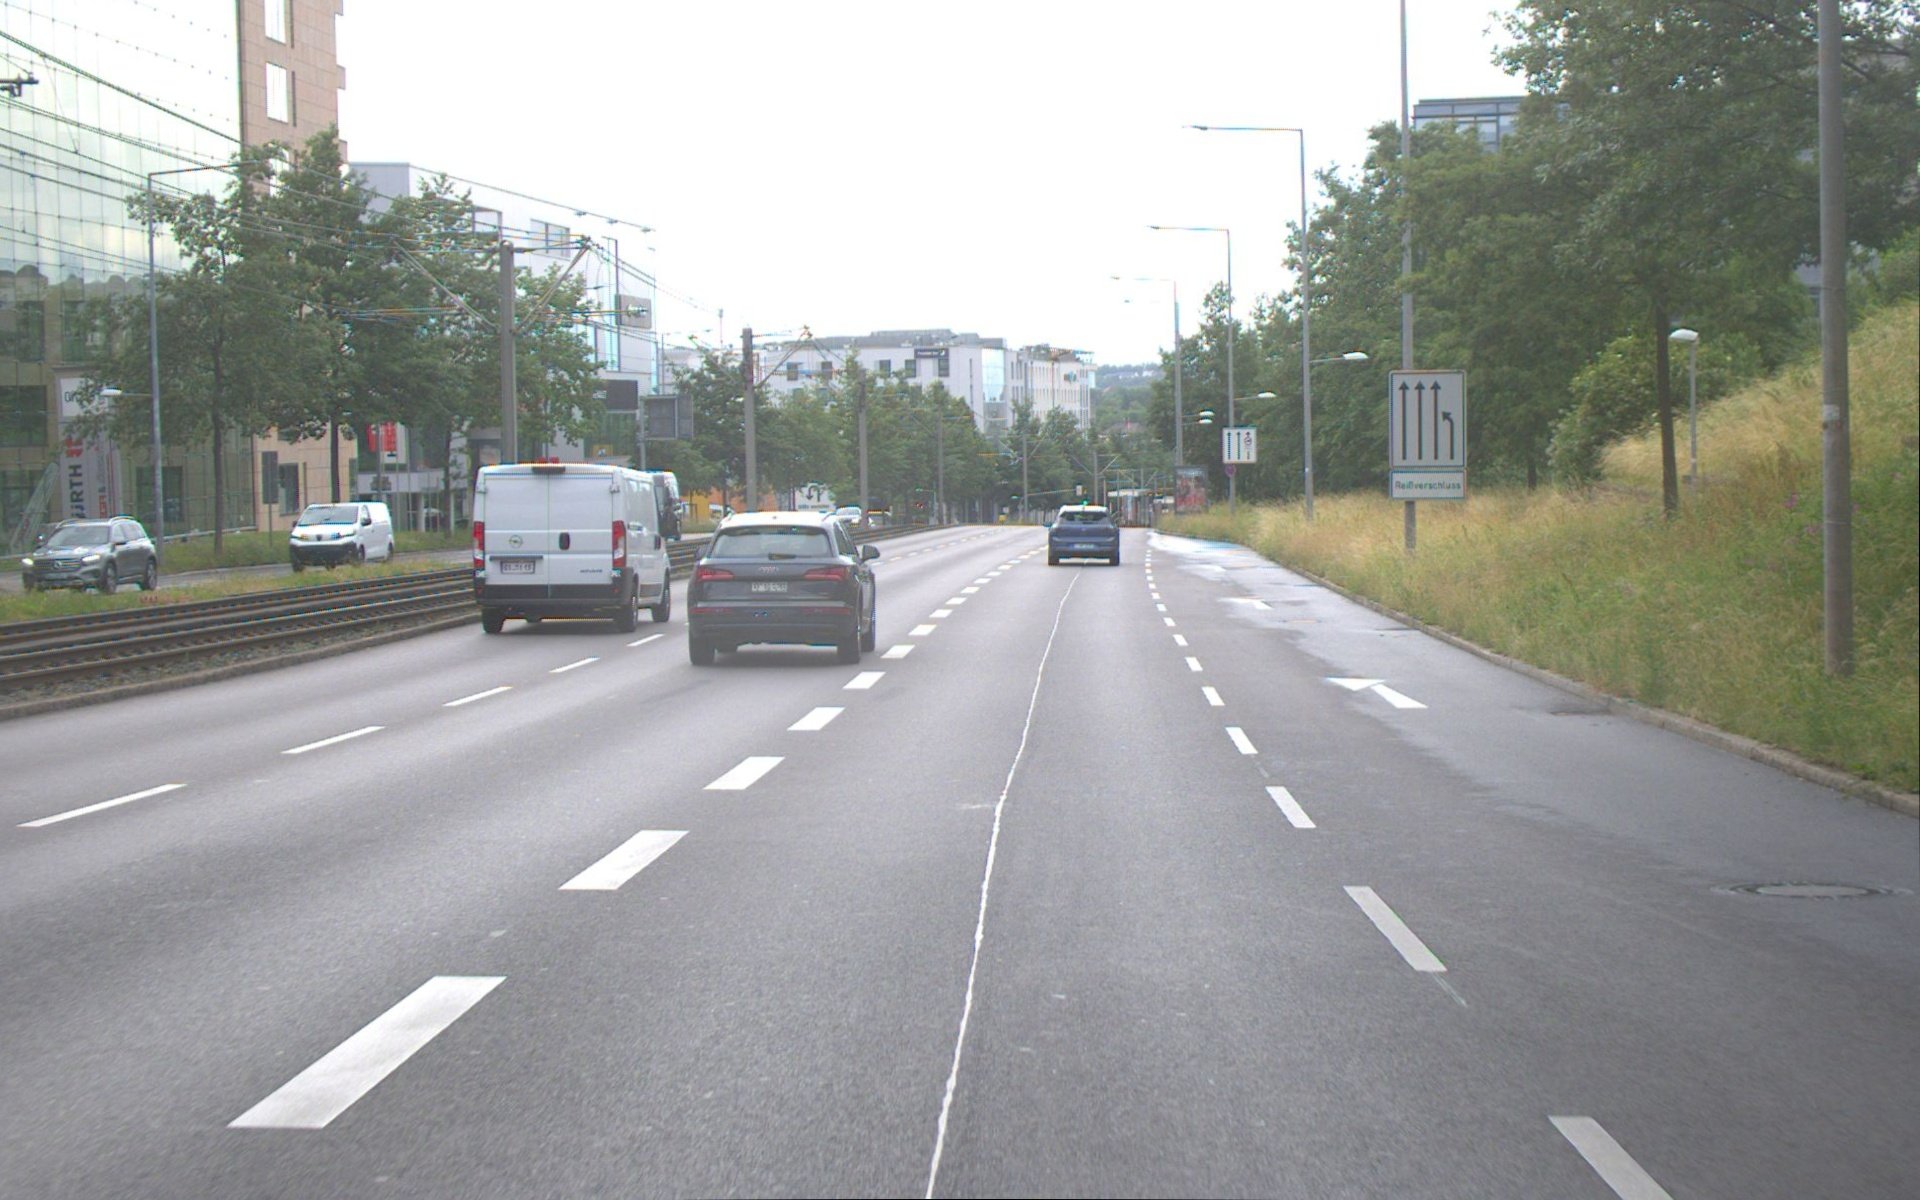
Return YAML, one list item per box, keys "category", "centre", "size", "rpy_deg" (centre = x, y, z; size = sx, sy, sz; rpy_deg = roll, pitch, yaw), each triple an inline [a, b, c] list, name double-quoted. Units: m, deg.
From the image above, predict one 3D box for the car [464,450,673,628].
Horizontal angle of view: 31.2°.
- category: "car"
  centre: [-5.265, -0.872, 46.857]
  size: [2.268, 2.277, 4.760]
  rpy_deg: [1, 2, 0]

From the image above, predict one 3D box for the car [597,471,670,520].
- category: "car"
  centre: [-11.952, -3.833, 126.064]
  size: [1.938, 1.755, 4.810]
  rpy_deg: [1, 2, 3]

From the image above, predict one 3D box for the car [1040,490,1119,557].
- category: "car"
  centre: [2.945, -1.898, 85.394]
  size: [1.789, 1.585, 4.000]
  rpy_deg: [-1, 1, 0]

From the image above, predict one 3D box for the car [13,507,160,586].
- category: "car"
  centre: [-18.855, -1.179, 74.384]
  size: [1.810, 1.600, 4.491]
  rpy_deg: [1, 2, 3]

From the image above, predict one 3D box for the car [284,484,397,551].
- category: "car"
  centre: [-17.043, -2.297, 94.802]
  size: [1.938, 1.755, 5.062]
  rpy_deg: [1, 2, 3]

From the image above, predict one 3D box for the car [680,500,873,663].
- category: "car"
  centre: [-1.992, -0.210, 38.342]
  size: [1.922, 1.705, 4.098]
  rpy_deg: [1, 0, 0]
